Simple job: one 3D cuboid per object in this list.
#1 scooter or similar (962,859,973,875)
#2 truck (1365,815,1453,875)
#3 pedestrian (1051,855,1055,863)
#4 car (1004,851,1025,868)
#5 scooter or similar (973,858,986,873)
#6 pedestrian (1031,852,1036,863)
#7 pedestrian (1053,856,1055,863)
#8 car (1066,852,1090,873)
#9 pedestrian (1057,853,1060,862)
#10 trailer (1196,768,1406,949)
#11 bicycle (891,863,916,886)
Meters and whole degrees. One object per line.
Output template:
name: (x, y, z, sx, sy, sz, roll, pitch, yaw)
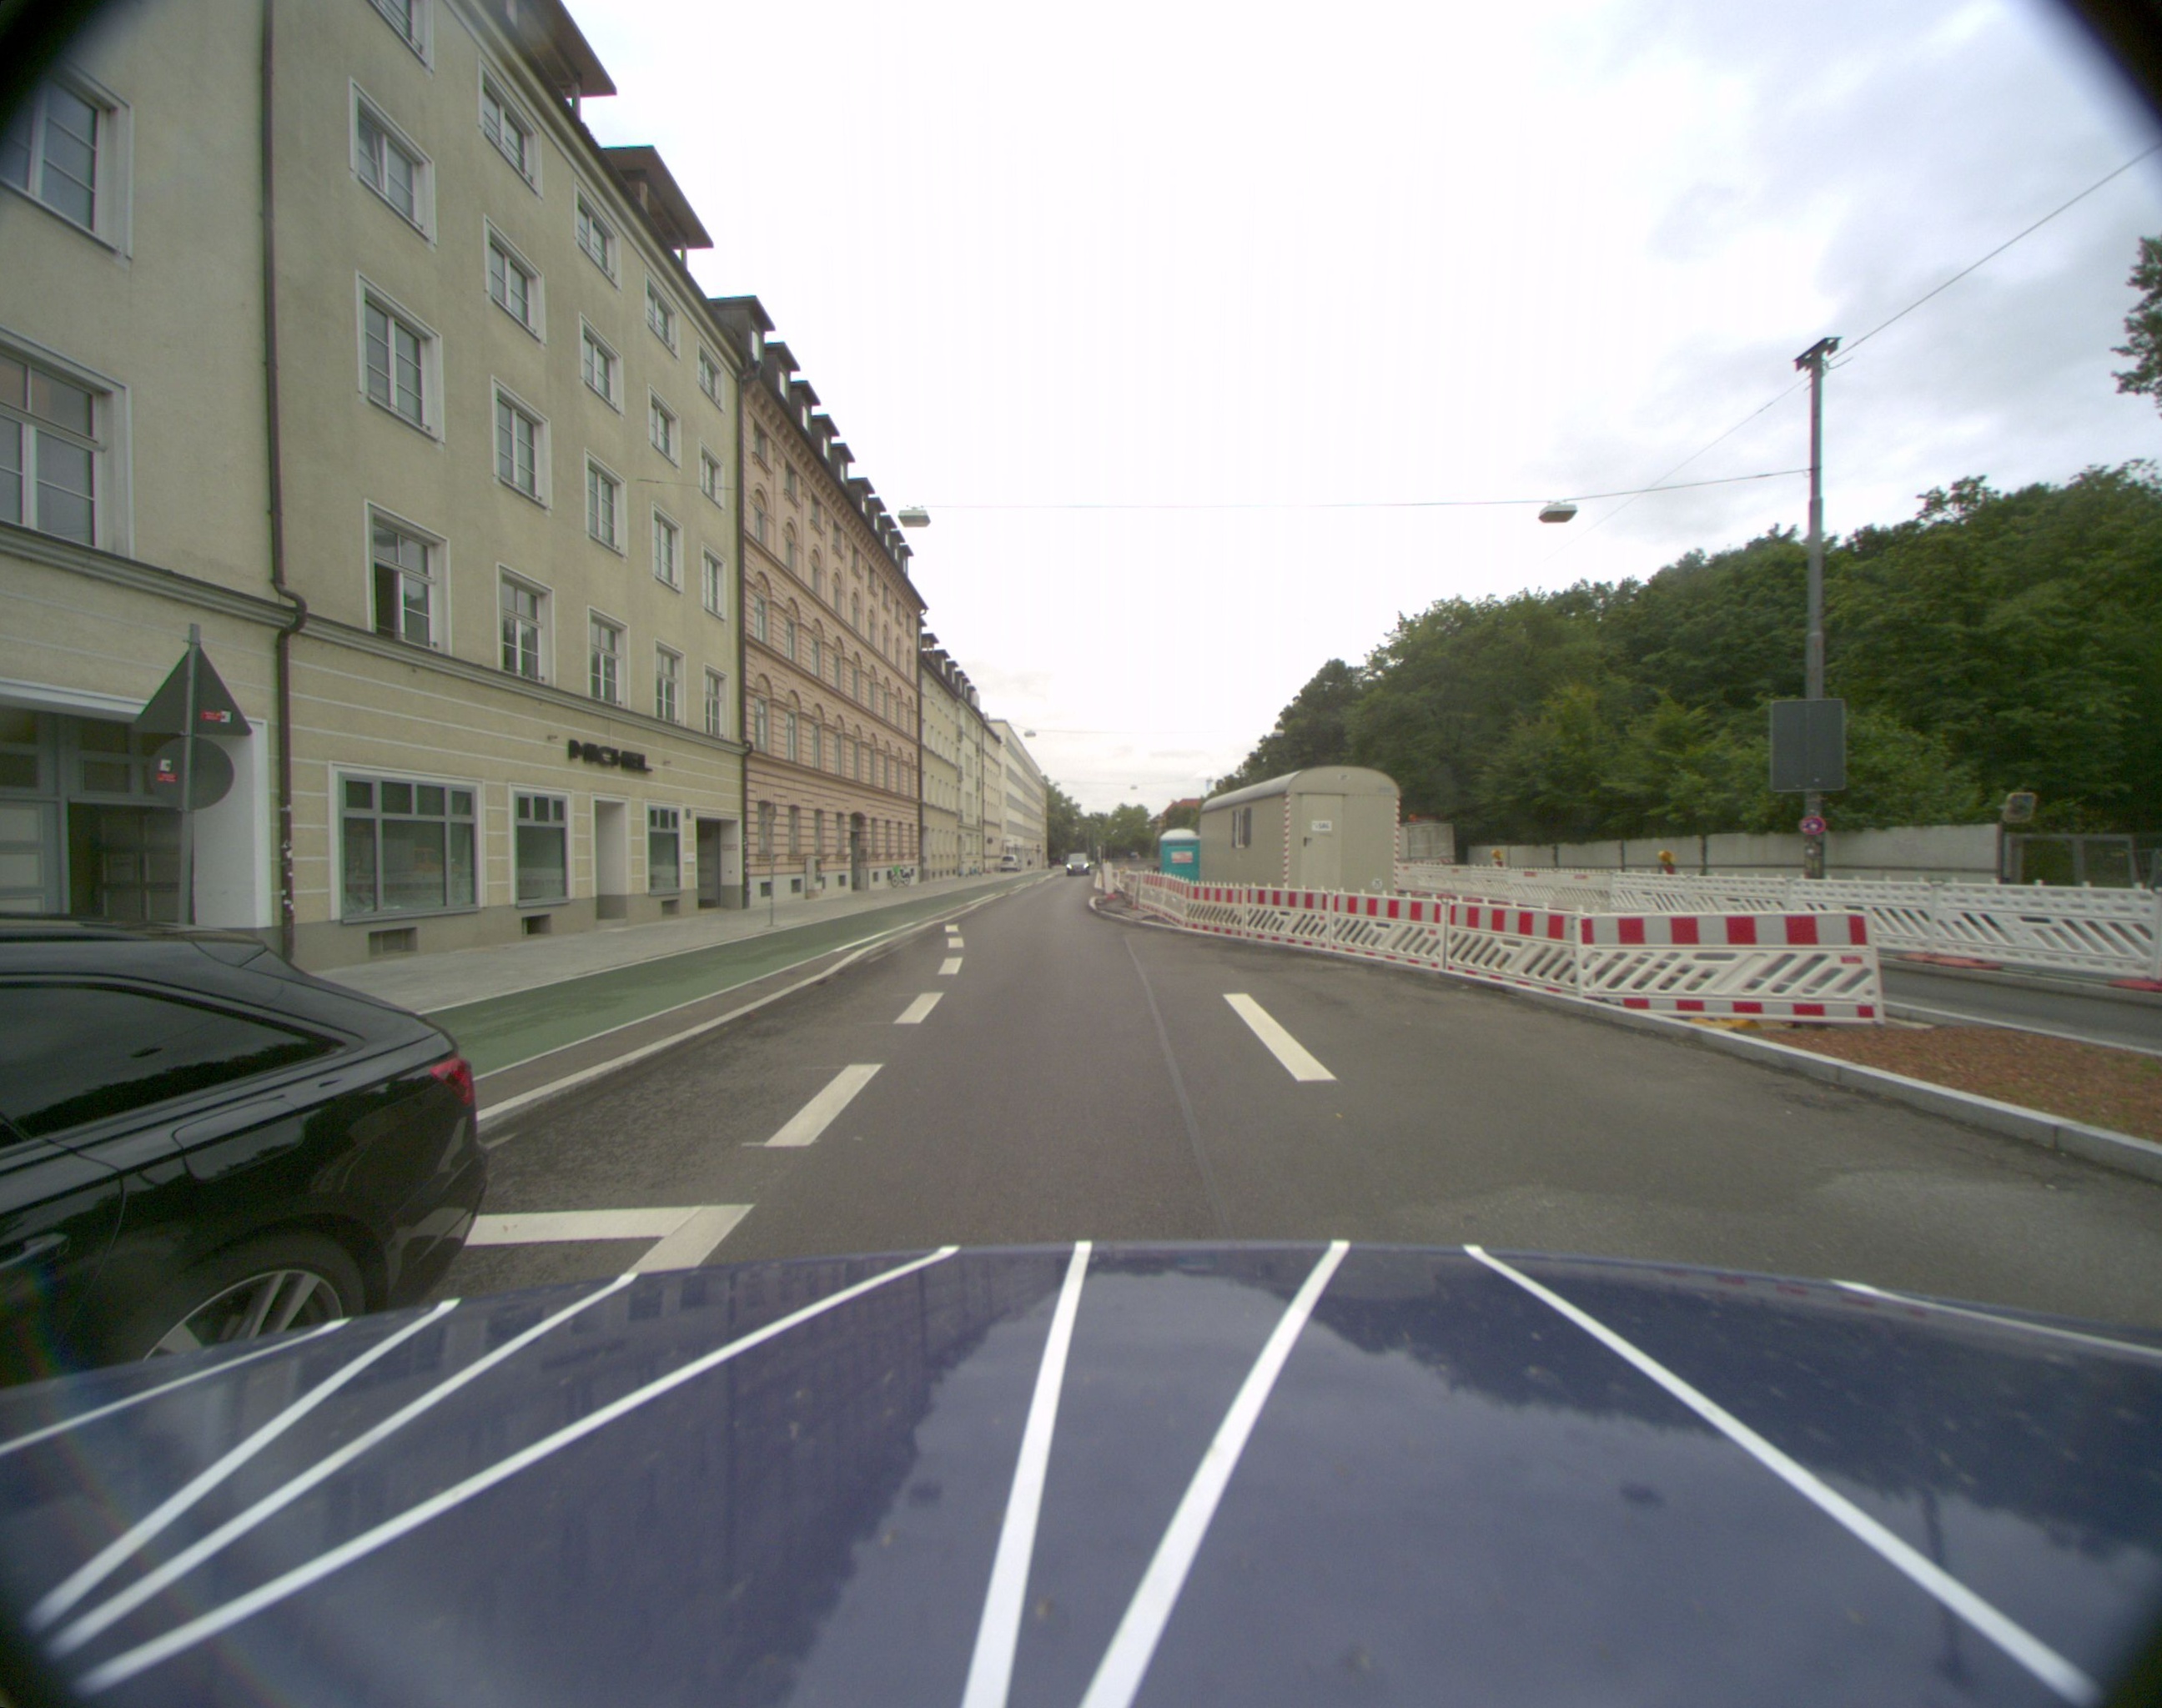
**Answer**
scooter or similar: (-8.752, 0.967, 58.653, 0.246, 1.224, 1.121, 2, 1, 27)
truck: (16.227, -0.413, 37.978, 1.998, 2.712, 5.871, -1, 0, 2)
pedestrian: (-5.723, 0.948, 155.095, 0.754, 1.610, 0.704, 0, 1, 2)
car: (-7.056, 0.576, 81.024, 1.737, 1.739, 4.436, 0, 0, 2)
scooter or similar: (-8.477, 0.964, 63.493, 1.121, 1.224, 0.246, 1, 1, -32)
pedestrian: (-6.914, 0.472, 109.725, 0.666, 1.626, 0.737, 0, 0, 1)
pedestrian: (-5.330, 1.102, 151.456, 0.368, 1.239, 0.470, 0, 1, 2)
car: (-0.232, 0.731, 65.179, 1.998, 1.738, 4.000, -1, 0, 0)
pedestrian: (-4.548, 0.763, 151.208, 0.514, 1.825, 0.602, 0, 1, 2)
trailer: (4.526, 0.066, 17.388, 2.233, 3.224, 7.516, -1, 0, -3)
bicycle: (-9.319, 1.074, 39.949, 0.426, 1.167, 1.734, 0, 0, 19)
